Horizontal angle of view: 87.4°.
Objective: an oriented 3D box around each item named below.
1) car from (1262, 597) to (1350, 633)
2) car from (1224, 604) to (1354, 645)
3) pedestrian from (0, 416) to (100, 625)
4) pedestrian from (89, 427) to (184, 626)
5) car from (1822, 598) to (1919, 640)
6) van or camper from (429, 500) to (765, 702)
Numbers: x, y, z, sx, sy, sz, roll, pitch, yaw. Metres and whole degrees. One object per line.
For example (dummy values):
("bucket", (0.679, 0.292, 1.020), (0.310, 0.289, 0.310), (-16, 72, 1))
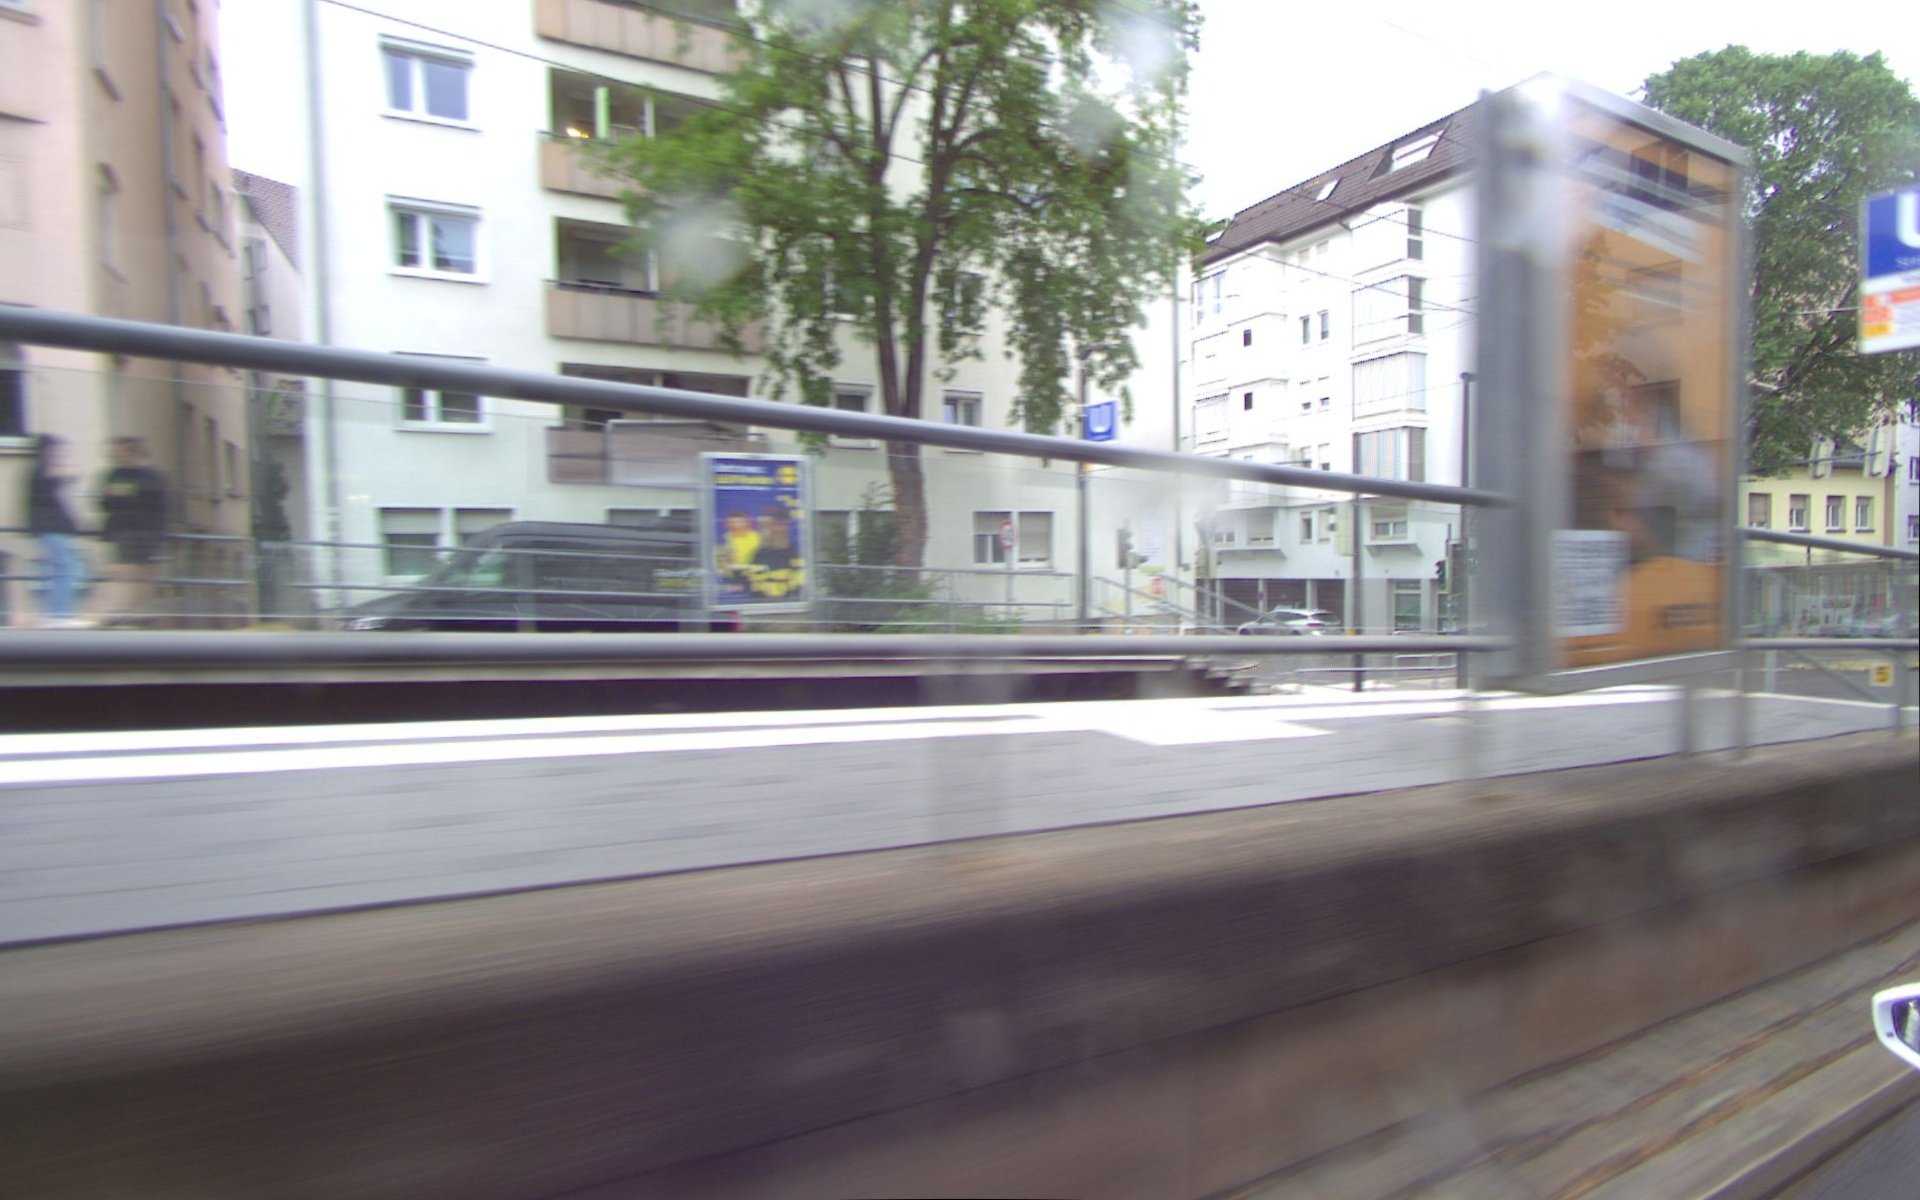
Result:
("car", (15.476, 0.662, 44.835), (3.957, 1.555, 1.690), (1, 0, -33))
("car", (12.600, 0.915, 38.771), (1.976, 1.492, 4.694), (0, -1, -29))
("pedestrian", (-8.003, -0.662, 8.821), (0.556, 1.764, 0.480), (1, -1, -28))
("pedestrian", (-7.577, -0.644, 9.263), (0.556, 1.764, 0.480), (1, -1, -28))
("car", (35.529, 0.702, 38.916), (4.438, 1.536, 1.719), (0, 0, -27))
("van or camper", (-5.785, 0.041, 16.257), (4.812, 2.842, 1.982), (1, 0, -33))
